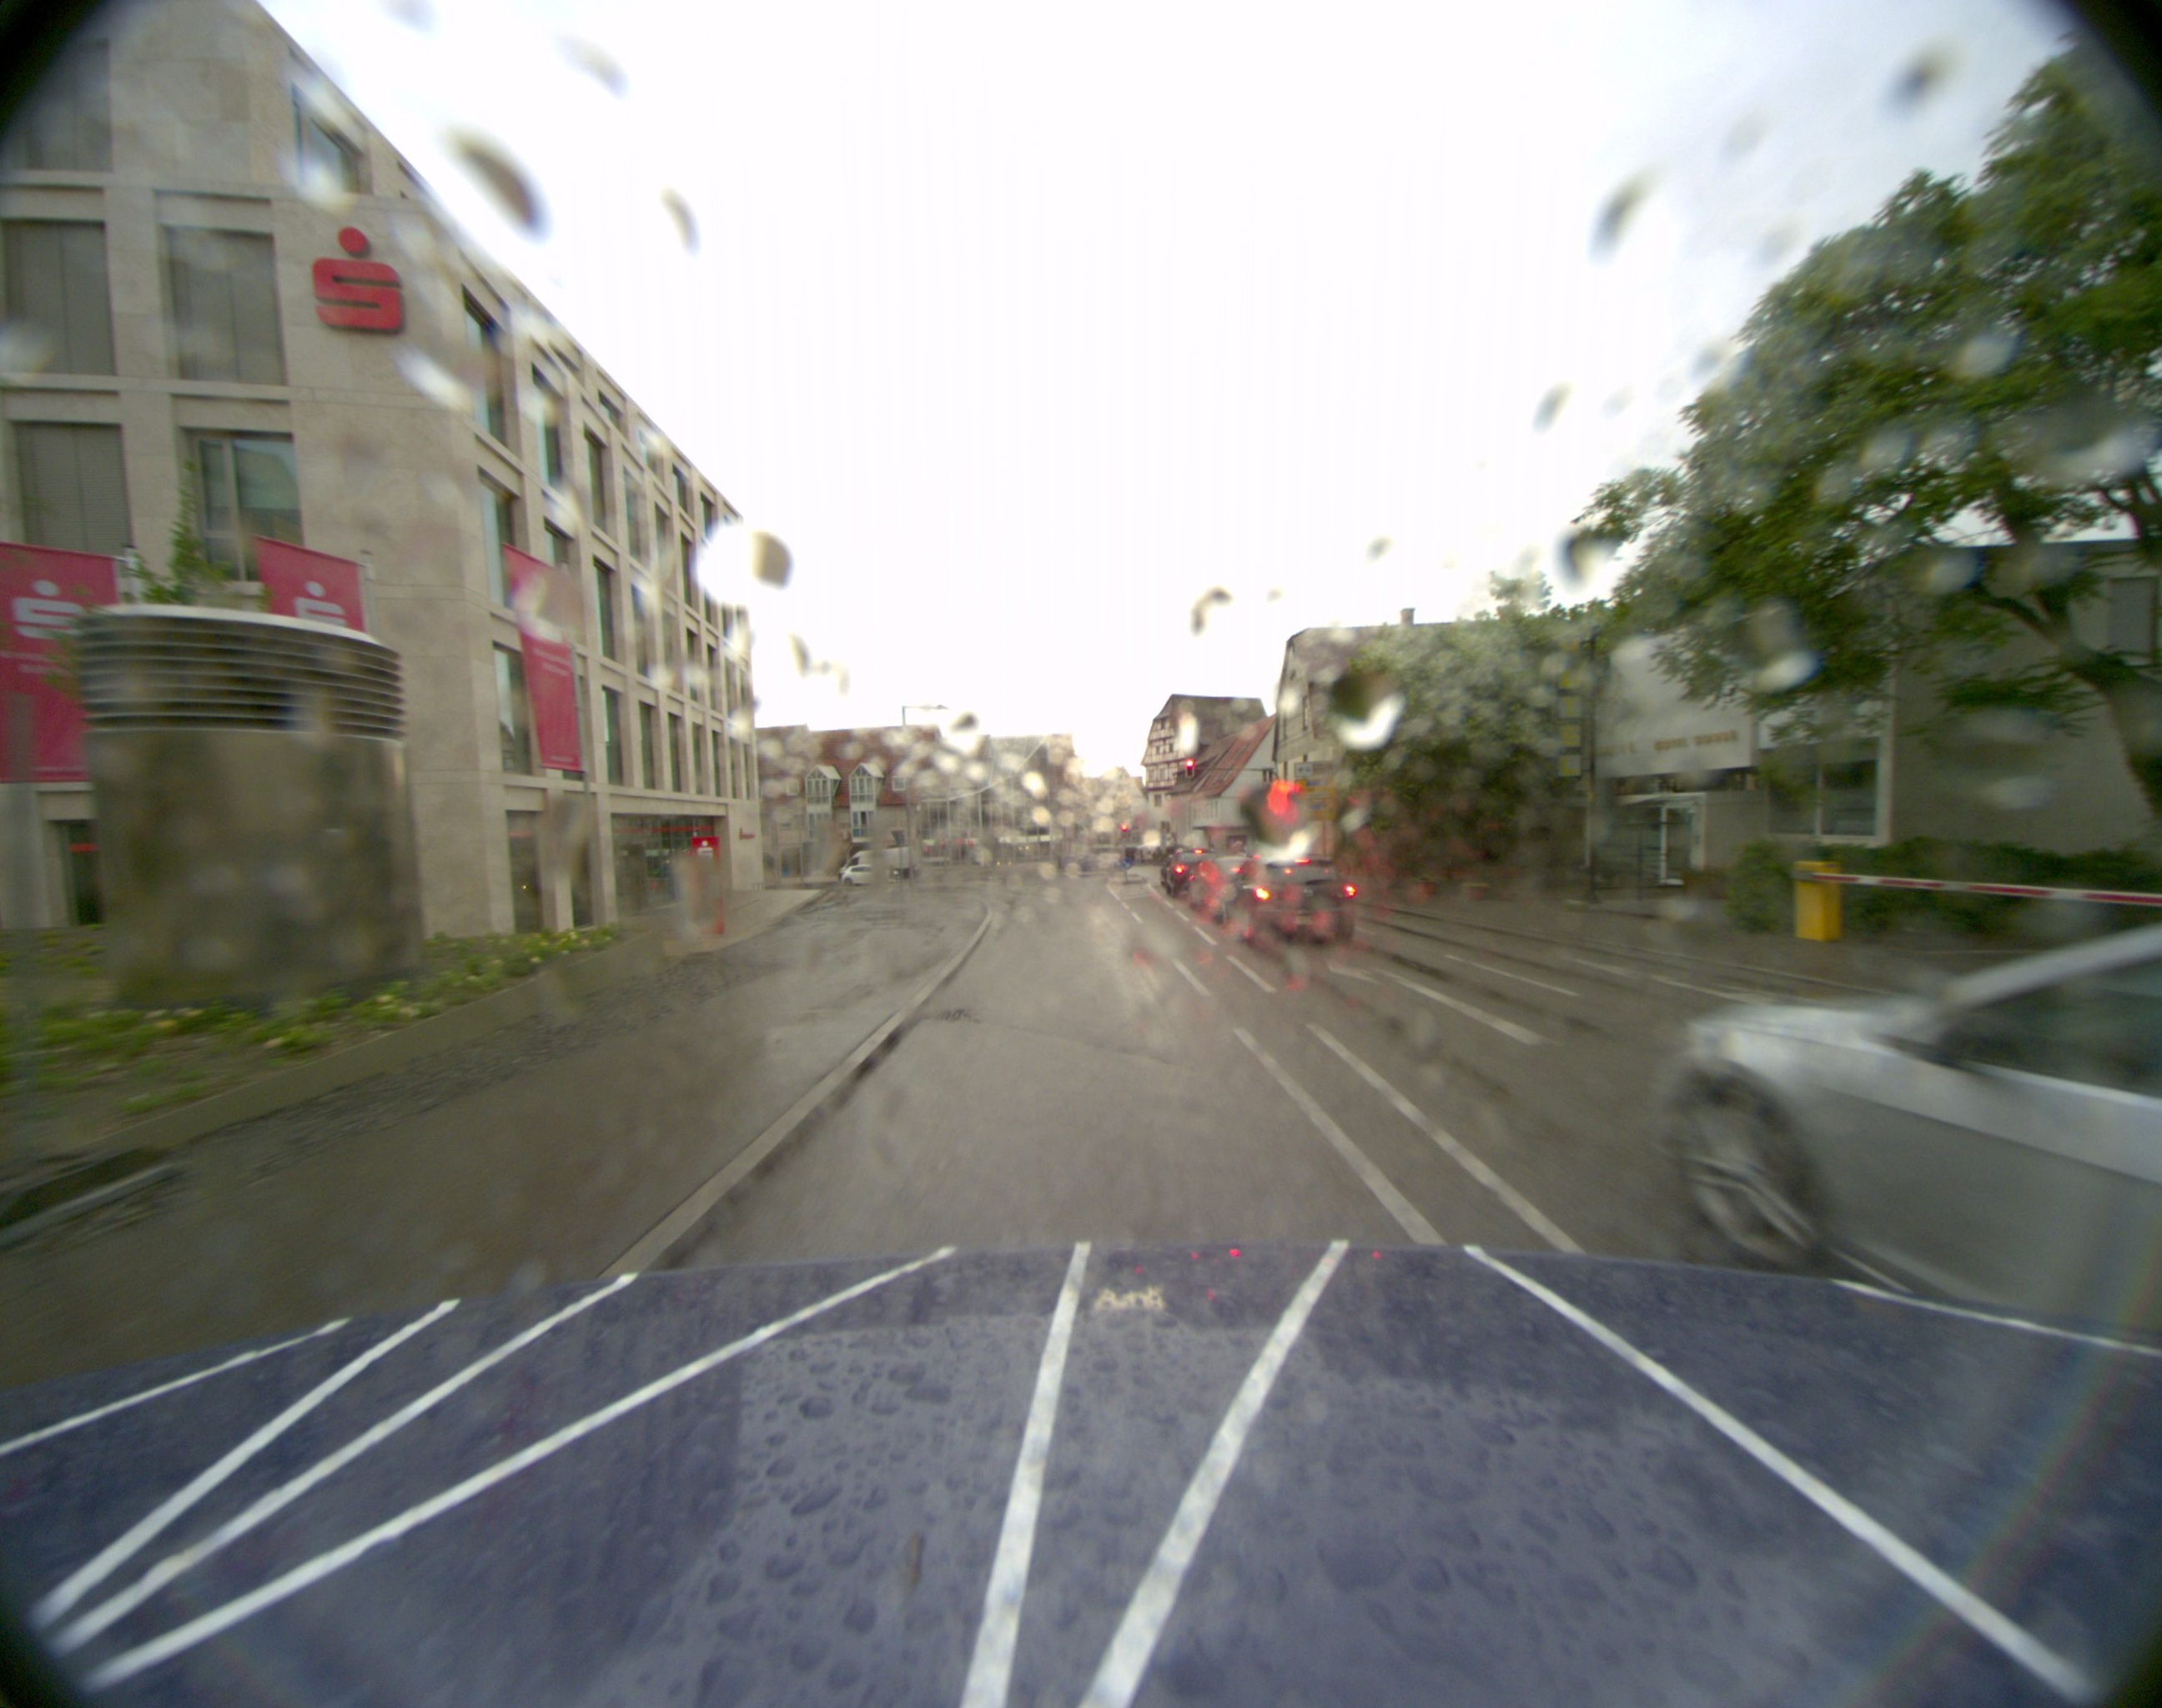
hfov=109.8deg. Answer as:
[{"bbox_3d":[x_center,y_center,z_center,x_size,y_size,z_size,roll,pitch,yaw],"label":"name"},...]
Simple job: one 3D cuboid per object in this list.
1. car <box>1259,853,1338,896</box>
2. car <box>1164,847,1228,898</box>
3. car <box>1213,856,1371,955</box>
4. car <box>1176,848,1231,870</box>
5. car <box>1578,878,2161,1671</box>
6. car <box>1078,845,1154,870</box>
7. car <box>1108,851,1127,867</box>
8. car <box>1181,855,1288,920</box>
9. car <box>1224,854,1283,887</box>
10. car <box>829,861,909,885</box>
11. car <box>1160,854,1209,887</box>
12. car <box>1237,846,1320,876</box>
[{"bbox_3d":[7.561,0.677,26.817,1.741,1.346,4.060,-2,0,2],"label":"car"},{"bbox_3d":[4.040,0.610,27.277,1.852,1.654,4.220,-2,0,4],"label":"car"},{"bbox_3d":[3.634,0.795,13.996,1.803,1.431,4.689,-2,0,3],"label":"car"},{"bbox_3d":[9.152,0.382,56.883,3.994,1.533,2.001,-2,0,9],"label":"car"},{"bbox_3d":[2.959,0.859,1.022,1.803,1.431,4.690,-2,0,5],"label":"car"},{"bbox_3d":[2.428,0.237,52.077,5.026,1.536,2.001,-2,0,7],"label":"car"},{"bbox_3d":[3.719,0.468,78.070,1.727,1.538,3.999,-2,0,-1],"label":"car"},{"bbox_3d":[3.867,0.773,20.007,1.945,1.432,5.016,-2,0,2],"label":"car"},{"bbox_3d":[7.390,0.670,32.976,1.852,1.286,4.033,-2,0,4],"label":"car"},{"bbox_3d":[-15.113,1.345,54.272,5.026,1.536,2.001,-2,0,9],"label":"car"},{"bbox_3d":[4.621,0.717,34.394,1.817,1.356,3.748,-2,0,3],"label":"car"},{"bbox_3d":[13.221,0.456,51.043,5.030,1.834,1.999,-2,0,-2],"label":"car"}]
